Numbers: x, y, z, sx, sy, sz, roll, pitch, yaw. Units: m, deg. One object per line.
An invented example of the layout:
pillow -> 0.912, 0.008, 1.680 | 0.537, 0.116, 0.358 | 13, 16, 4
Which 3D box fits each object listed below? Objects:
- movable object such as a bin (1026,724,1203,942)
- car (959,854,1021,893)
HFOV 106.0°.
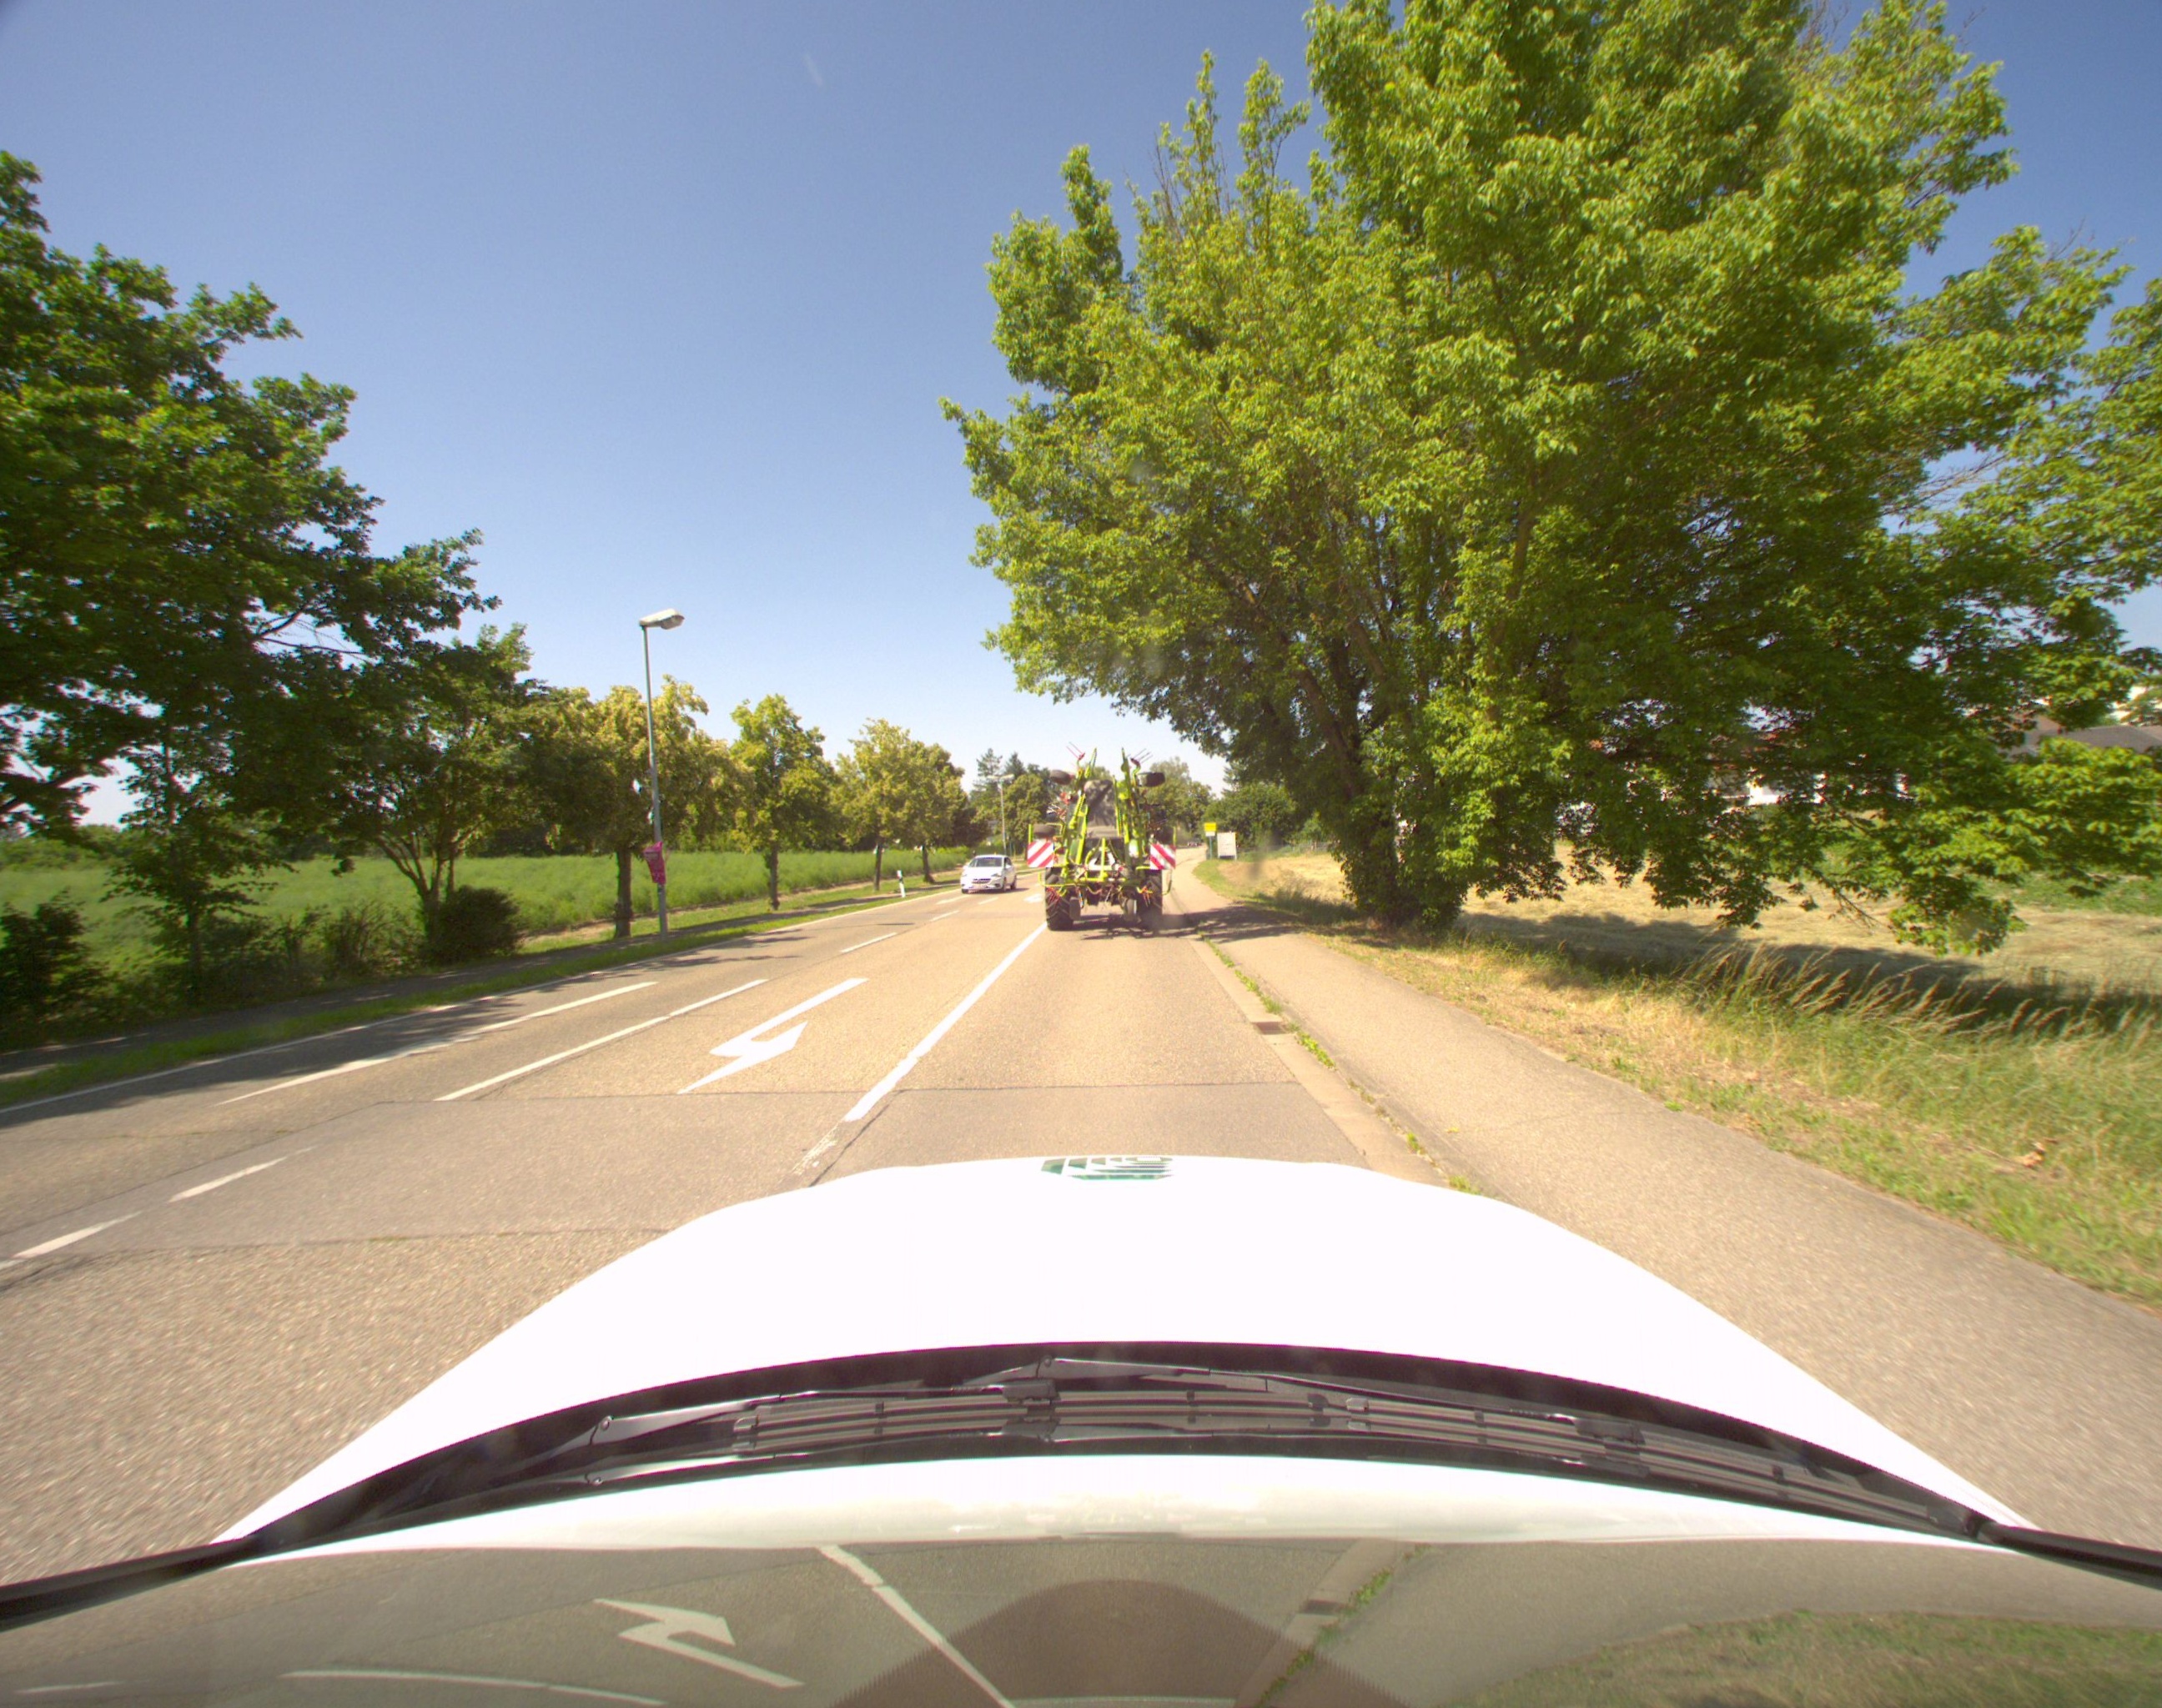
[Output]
movable object such as a bin -> 0.625, -0.351, 18.289 | 2.843, 3.541, 9.701 | -1, 0, 1
car -> -3.571, 0.730, 32.761 | 1.640, 1.434, 3.904 | 0, 0, 6
